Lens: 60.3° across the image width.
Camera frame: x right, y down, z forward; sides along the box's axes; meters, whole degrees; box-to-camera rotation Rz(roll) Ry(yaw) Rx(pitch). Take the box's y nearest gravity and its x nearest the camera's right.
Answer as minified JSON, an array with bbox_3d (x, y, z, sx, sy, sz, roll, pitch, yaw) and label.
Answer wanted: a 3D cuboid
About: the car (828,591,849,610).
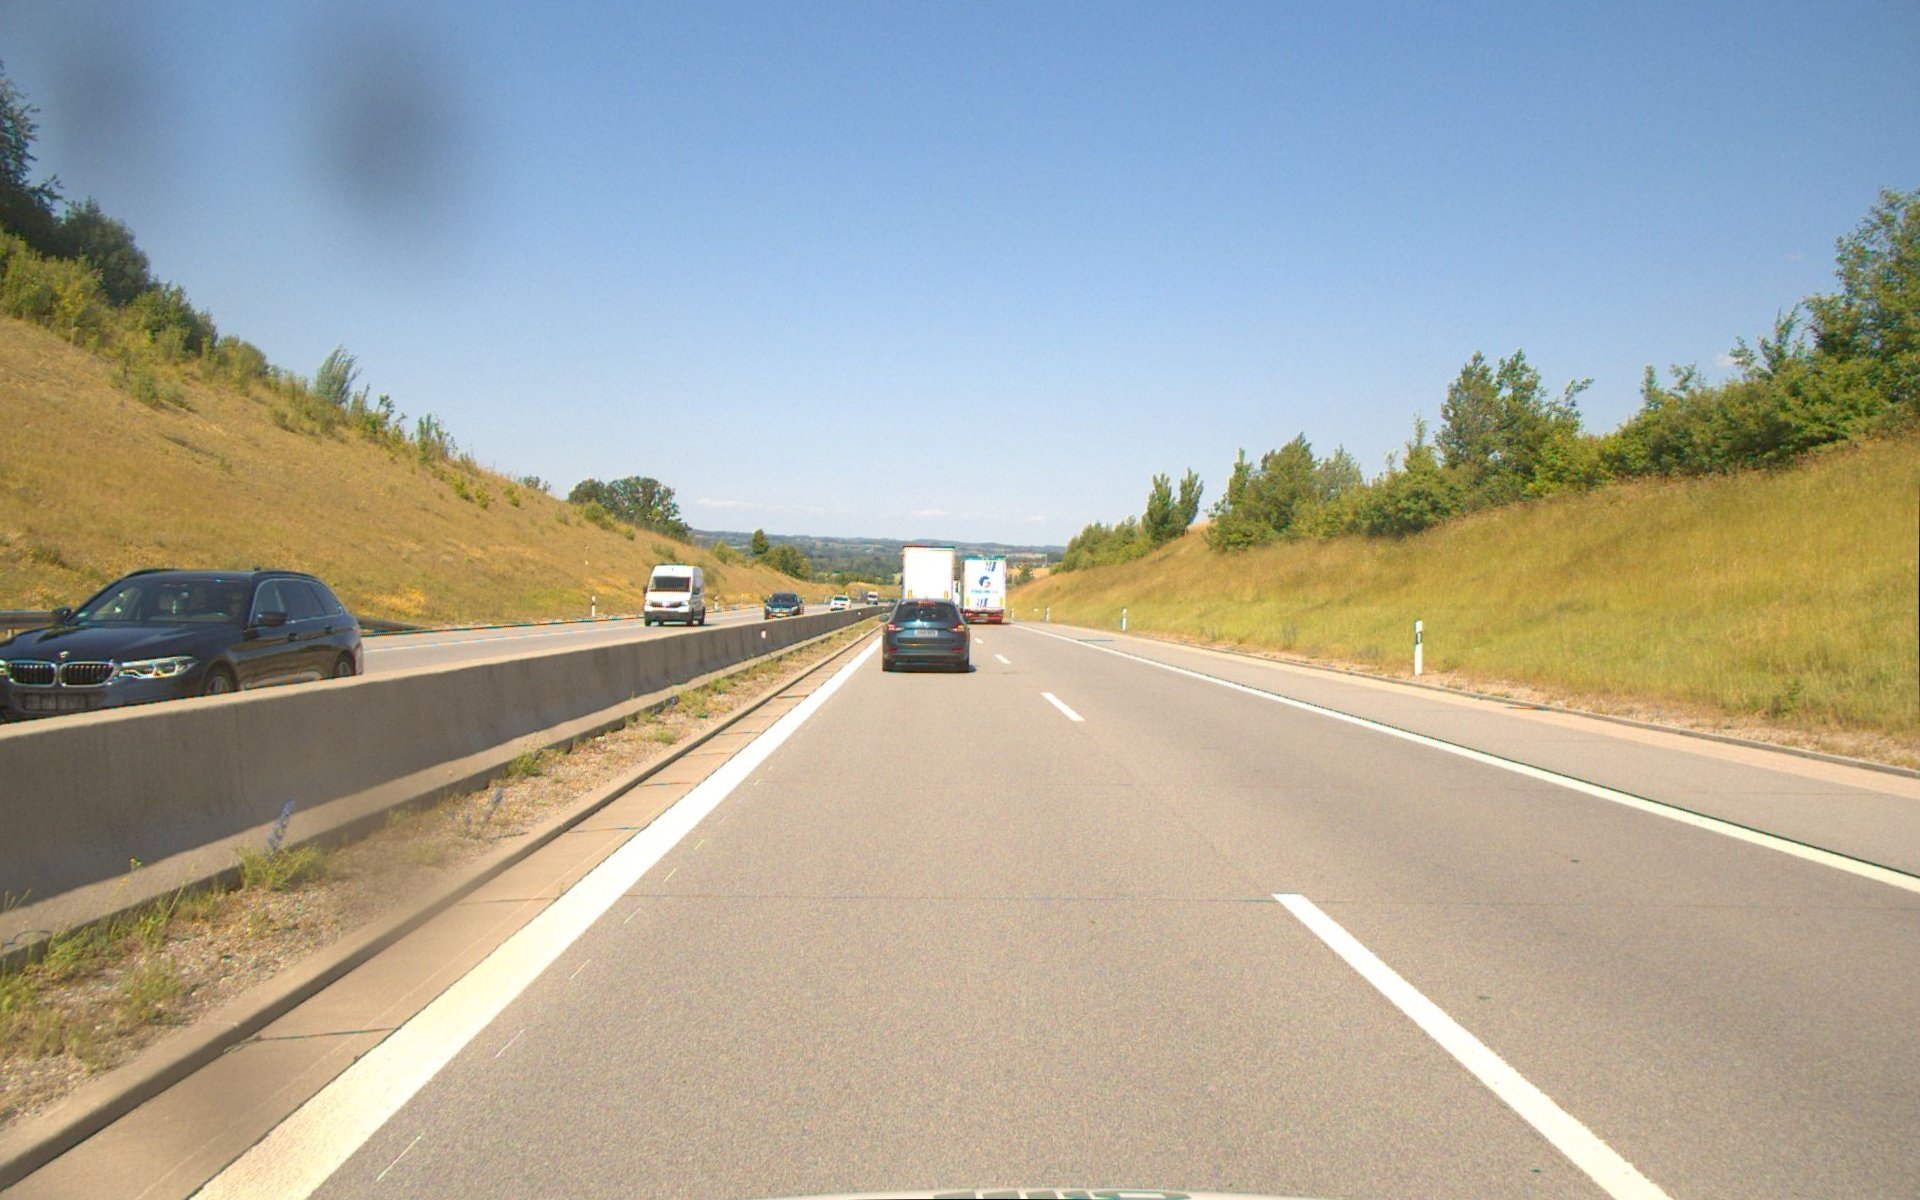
[{"bbox_3d":[-11.299,0.047,153.961,1.740,1.629,4.038,1,0,-2],"label":"car"}]

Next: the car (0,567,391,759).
[{"bbox_3d":[-7.000,0.481,15.452,1.816,1.487,4.767,1,0,-2],"label":"car"}]

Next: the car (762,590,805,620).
[{"bbox_3d":[-9.051,0.229,85.082,1.816,1.487,4.331,1,0,-2],"label":"car"}]

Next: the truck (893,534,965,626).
[{"bbox_3d":[-1.502,-1.011,86.897,3.144,4.458,11.236,1,0,2],"label":"truck"}]

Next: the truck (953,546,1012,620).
[{"bbox_3d":[1.501,-1.054,106.295,3.530,4.458,11.235,1,0,1],"label":"truck"}]

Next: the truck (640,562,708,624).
[{"bbox_3d":[-12.246,-0.295,71.249,2.070,2.503,5.949,1,0,-2],"label":"truck"}]

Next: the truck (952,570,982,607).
[{"bbox_3d":[0.956,-1.440,209.989,3.530,4.458,11.235,1,0,1],"label":"truck"}]

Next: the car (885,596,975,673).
[{"bbox_3d":[-0.647,0.665,33.986,1.741,1.466,3.787,0,0,-2],"label":"car"}]
